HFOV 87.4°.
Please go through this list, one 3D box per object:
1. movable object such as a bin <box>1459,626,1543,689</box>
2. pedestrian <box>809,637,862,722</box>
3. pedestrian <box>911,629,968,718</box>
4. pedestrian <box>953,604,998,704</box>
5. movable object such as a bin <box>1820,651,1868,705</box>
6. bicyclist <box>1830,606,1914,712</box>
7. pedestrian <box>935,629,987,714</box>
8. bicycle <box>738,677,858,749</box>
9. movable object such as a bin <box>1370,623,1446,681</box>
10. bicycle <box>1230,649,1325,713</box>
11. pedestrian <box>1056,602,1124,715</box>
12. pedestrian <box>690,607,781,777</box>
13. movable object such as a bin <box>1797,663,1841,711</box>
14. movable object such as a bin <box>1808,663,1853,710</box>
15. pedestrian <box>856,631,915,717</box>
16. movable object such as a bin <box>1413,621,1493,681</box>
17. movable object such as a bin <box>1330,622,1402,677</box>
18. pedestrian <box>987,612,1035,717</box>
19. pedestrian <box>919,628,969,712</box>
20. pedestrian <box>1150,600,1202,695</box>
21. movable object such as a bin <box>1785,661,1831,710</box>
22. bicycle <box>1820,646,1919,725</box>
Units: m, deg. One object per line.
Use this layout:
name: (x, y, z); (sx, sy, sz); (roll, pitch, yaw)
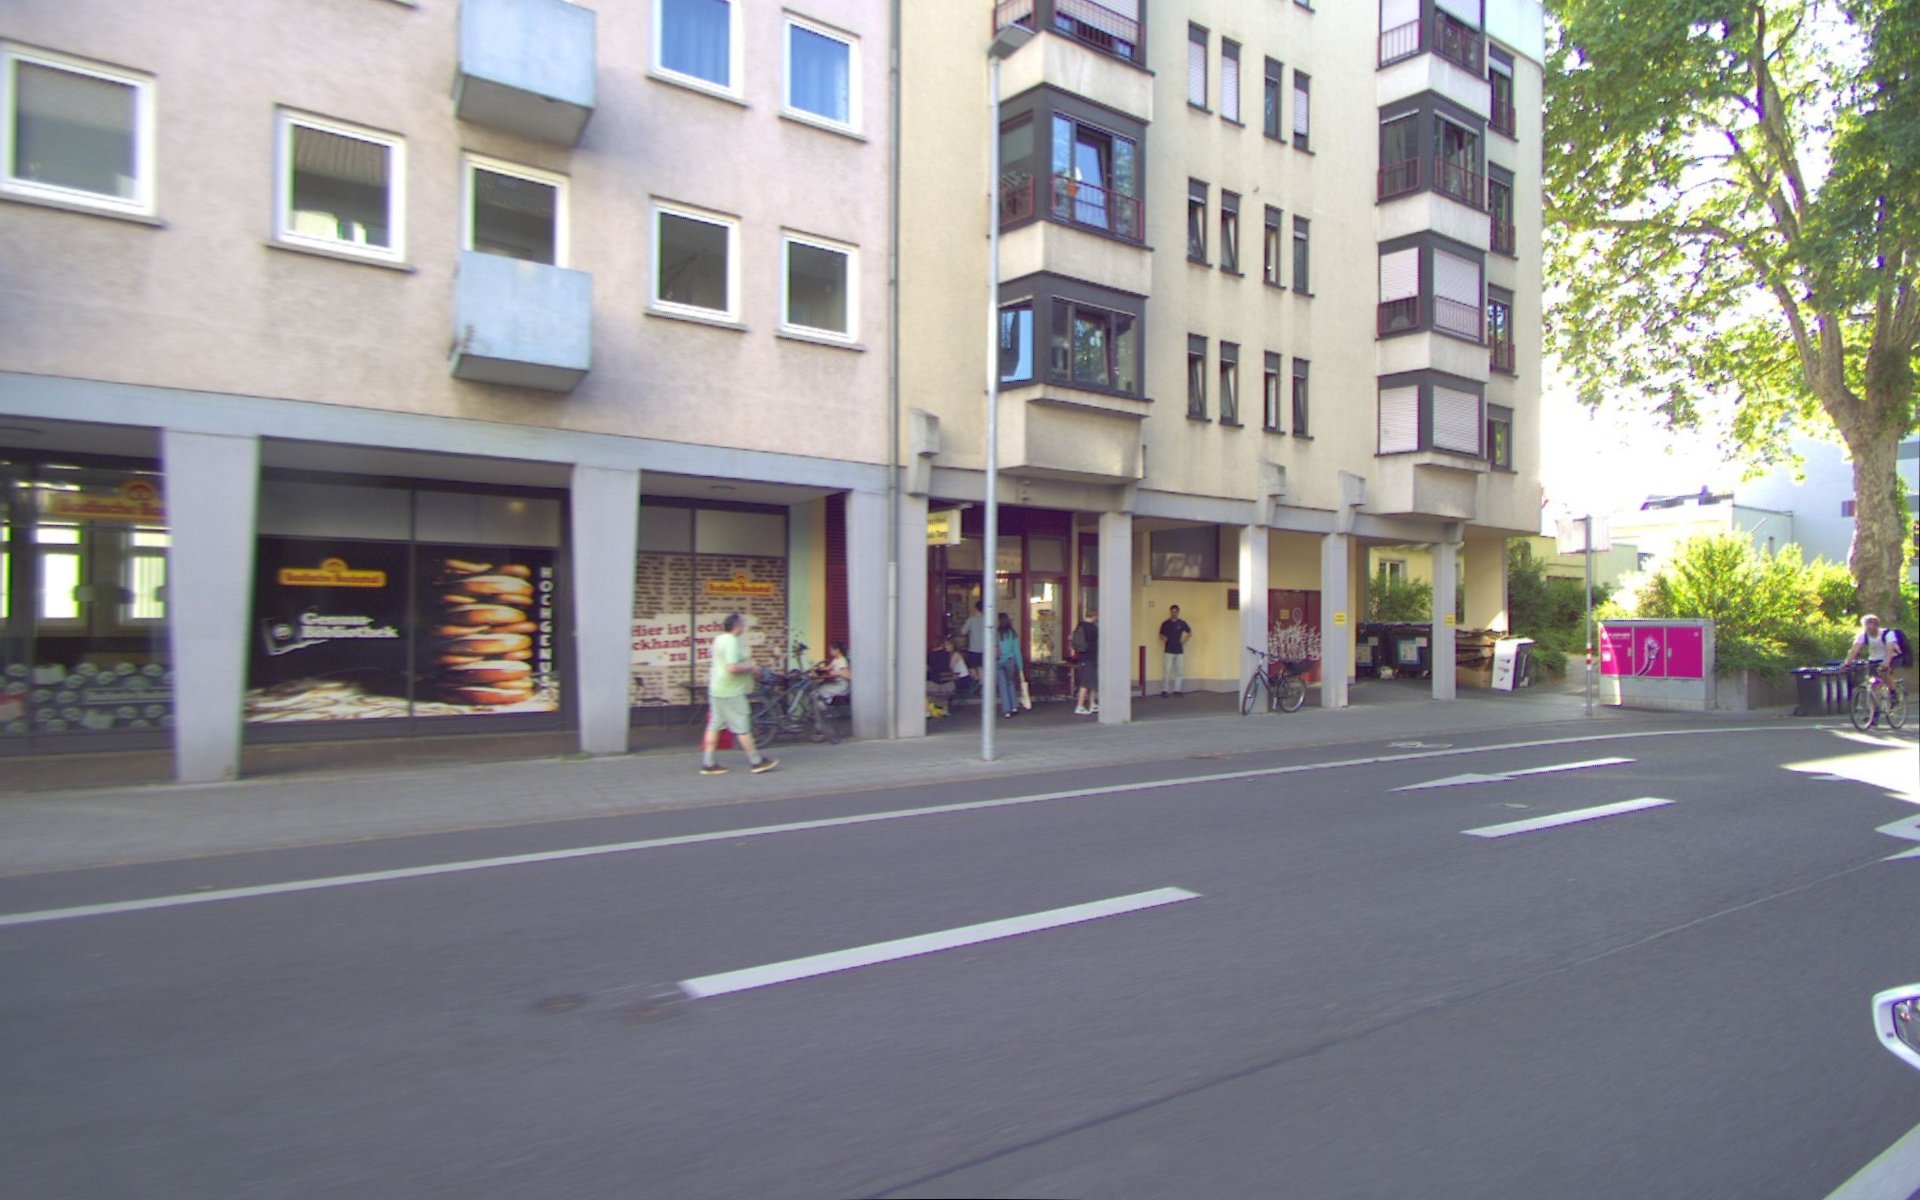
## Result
movable object such as a bin: (12.969, 1.349, 24.078); (1.353, 1.361, 1.180); (1, 4, -32)
pedestrian: (-1.962, 1.243, 15.793); (0.678, 1.284, 0.566); (1, 0, -21)
pedestrian: (-0.336, 1.171, 16.217); (0.702, 1.386, 0.611); (1, 0, -26)
pedestrian: (0.289, 0.966, 18.234); (0.697, 1.765, 0.615); (1, 0, 9)
movable object such as a bin: (18.338, 1.606, 20.834); (0.637, 1.085, 0.591); (1, -1, -32)
bicyclist: (14.913, 0.950, 16.427); (1.154, 1.663, 0.725); (1, -1, -31)
pedestrian: (0.010, 1.187, 16.840); (0.607, 1.370, 0.706); (1, 0, -26)
bicycle: (-2.088, 1.440, 13.014); (1.505, 0.835, 0.356); (1, 0, -31)
movable object such as a bin: (11.670, 1.345, 26.181); (1.353, 1.361, 1.180); (1, 4, -32)
bicycle: (5.657, 1.417, 17.846); (1.989, 1.059, 0.446); (1, -1, -33)
pedestrian: (2.256, 0.992, 17.464); (0.797, 1.894, 0.818); (2, 0, -33)
pedestrian: (-2.466, 0.969, 11.010); (0.715, 1.763, 0.828); (1, 0, -31)
movable object such as a bin: (17.252, 1.730, 20.171); (0.553, 0.913, 0.538); (1, -1, -32)
movable object such as a bin: (17.762, 1.748, 20.505); (0.637, 0.913, 0.538); (1, -1, -32)
pedestrian: (-1.220, 1.193, 16.434); (0.730, 1.354, 0.706); (1, 0, -27)
movable object such as a bin: (12.322, 1.258, 25.131); (1.353, 1.361, 1.180); (1, 4, -32)
movable object such as a bin: (11.004, 1.328, 27.226); (1.353, 1.361, 1.180); (1, 4, -32)
pedestrian: (0.853, 1.060, 16.700); (0.697, 1.688, 0.615); (1, 0, 9)
pedestrian: (-0.279, 1.203, 17.491); (0.607, 1.396, 0.706); (1, 0, -26)
pedestrian: (4.387, 0.961, 20.425); (0.783, 1.894, 0.613); (2, 0, -15)
movable object such as a bin: (16.761, 1.681, 19.852); (0.597, 0.913, 0.538); (1, -1, -32)
bicycle: (15.014, 1.371, 16.486); (2.154, 1.215, 0.725); (1, -2, -31)
